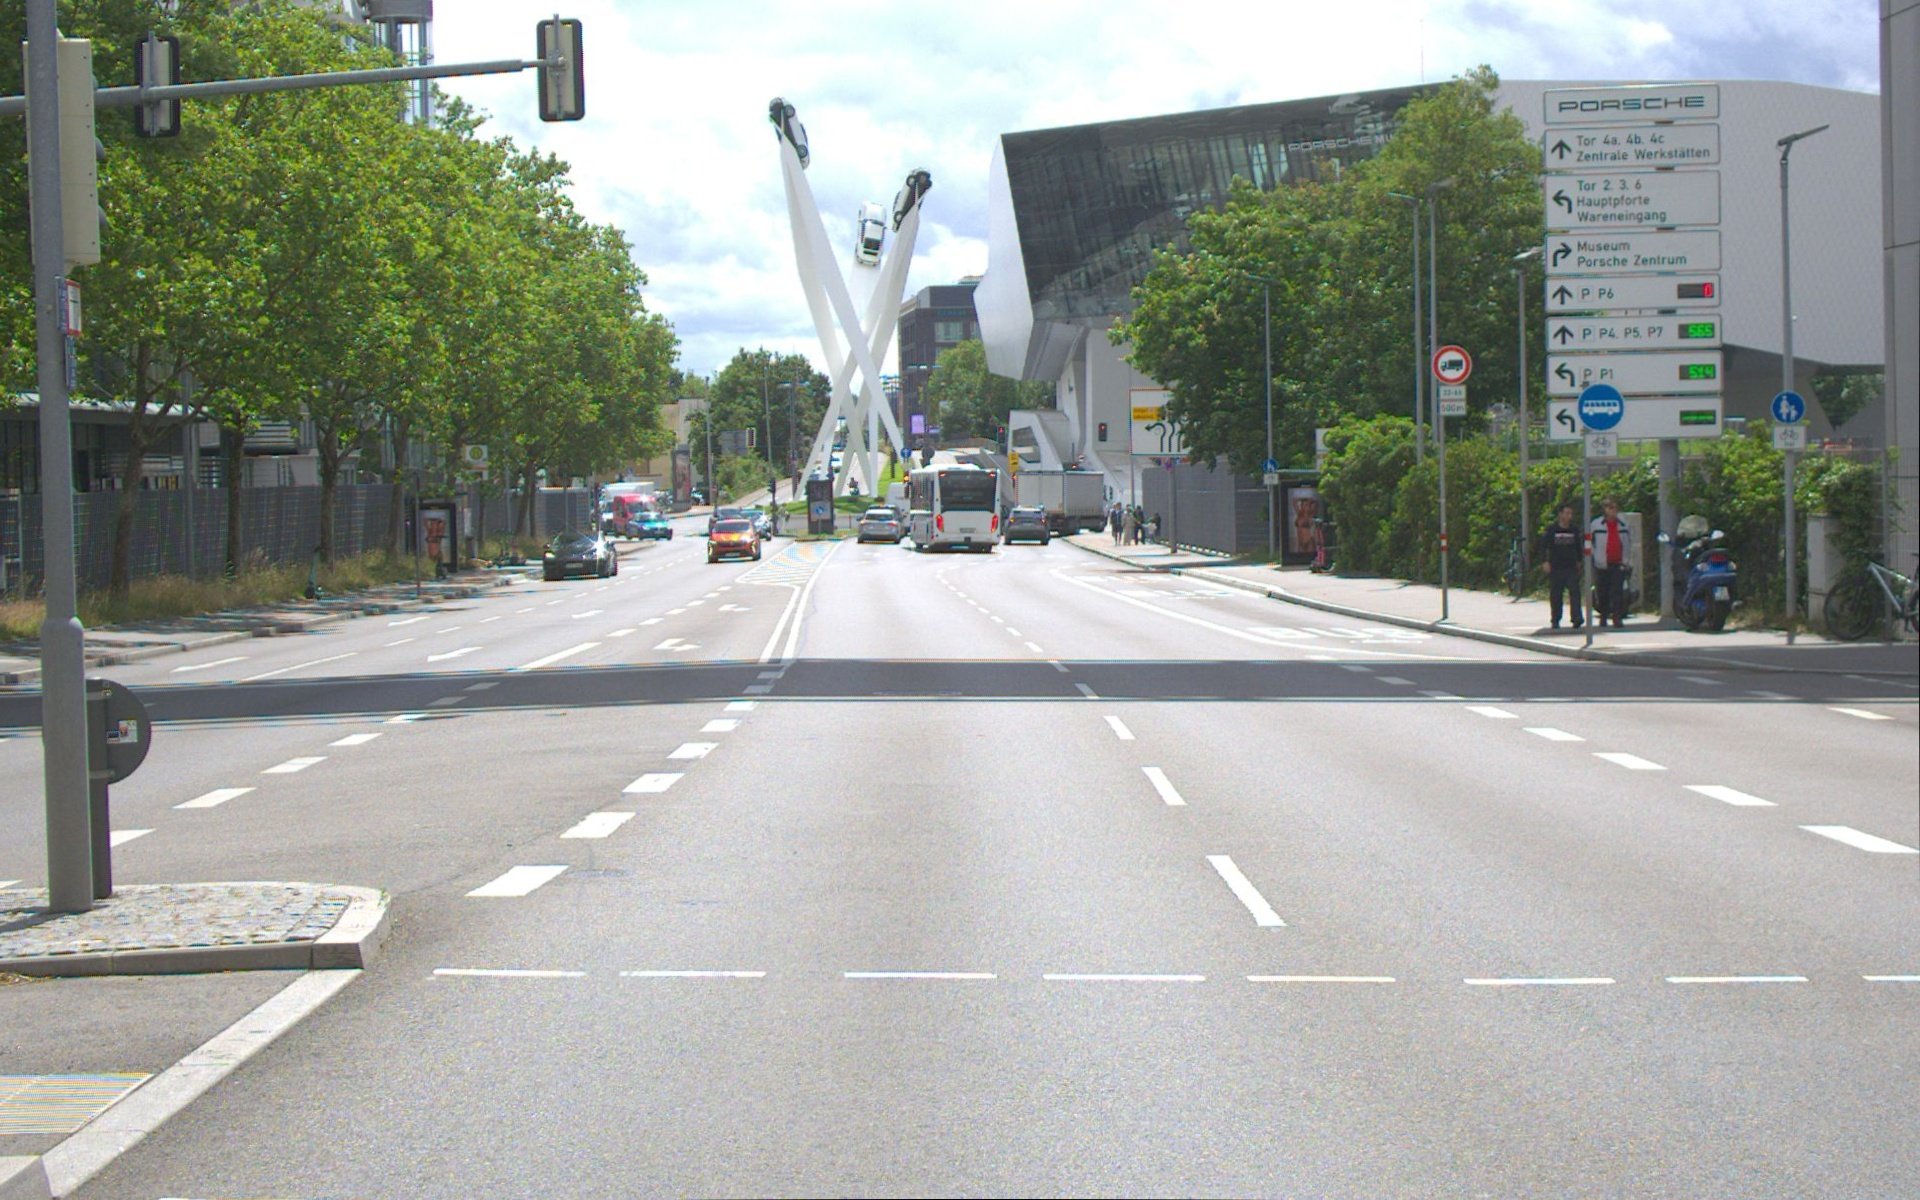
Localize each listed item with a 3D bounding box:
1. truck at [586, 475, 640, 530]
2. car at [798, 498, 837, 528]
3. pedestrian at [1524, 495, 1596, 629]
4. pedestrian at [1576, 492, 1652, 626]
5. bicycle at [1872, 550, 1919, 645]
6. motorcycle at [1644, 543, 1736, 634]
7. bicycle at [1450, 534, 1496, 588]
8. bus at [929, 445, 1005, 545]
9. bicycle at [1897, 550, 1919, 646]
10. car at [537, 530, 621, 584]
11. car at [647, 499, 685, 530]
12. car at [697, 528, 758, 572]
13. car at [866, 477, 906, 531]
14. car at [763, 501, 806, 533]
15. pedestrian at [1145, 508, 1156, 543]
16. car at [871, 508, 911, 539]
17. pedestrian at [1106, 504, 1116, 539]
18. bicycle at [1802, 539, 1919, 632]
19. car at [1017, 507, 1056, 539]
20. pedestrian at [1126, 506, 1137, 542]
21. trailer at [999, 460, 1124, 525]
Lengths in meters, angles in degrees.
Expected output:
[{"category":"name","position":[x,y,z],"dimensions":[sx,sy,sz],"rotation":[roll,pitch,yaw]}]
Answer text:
[{"category":"truck","position":[-21.693,-6.072,215.360],"dimensions":[2.591,3.312,7.079],"rotation":[1,1,0]},{"category":"car","position":[-6.445,-3.917,155.685],"dimensions":[1.557,1.269,3.701],"rotation":[-3,1,0]},{"category":"pedestrian","position":[8.232,-0.523,47.190],"dimensions":[0.641,1.787,0.712],"rotation":[-3,1,-16]},{"category":"pedestrian","position":[8.983,-0.563,47.236],"dimensions":[0.691,1.787,0.712],"rotation":[-3,1,-16]},{"category":"bicycle","position":[11.659,-0.016,39.538],"dimensions":[2.222,1.083,0.476],"rotation":[1,1,35]},{"category":"motorcycle","position":[9.543,-0.163,45.023],"dimensions":[0.418,1.162,1.957],"rotation":[1,1,-11]},{"category":"bicycle","position":[9.737,-0.741,65.263],"dimensions":[0.418,1.019,1.913],"rotation":[1,1,-5]},{"category":"bus","position":[0.283,-3.986,132.600],"dimensions":[2.787,3.673,6.943],"rotation":[1,1,0]},{"category":"bicycle","position":[11.740,-0.008,38.827],"dimensions":[2.191,1.083,0.476],"rotation":[1,1,35]},{"category":"car","position":[-11.437,-1.305,103.491],"dimensions":[1.917,1.483,4.772],"rotation":[-3,1,0]},{"category":"car","position":[-15.403,-4.477,180.366],"dimensions":[1.797,1.568,4.001],"rotation":[0,1,-2]},{"category":"car","position":[-8.028,-1.726,118.832],"dimensions":[1.769,1.415,3.701],"rotation":[-3,1,0]},{"category":"car","position":[-3.710,-4.766,171.463],"dimensions":[1.843,2.614,4.000],"rotation":[1,1,-3]},{"category":"car","position":[-8.344,-3.962,163.955],"dimensions":[1.769,1.415,3.701],"rotation":[-3,1,0]},{"category":"pedestrian","position":[7.674,-3.010,138.509],"dimensions":[0.386,1.416,0.423],"rotation":[1,0,0]},{"category":"car","position":[-2.962,-3.316,148.711],"dimensions":[1.557,1.269,3.701],"rotation":[-3,1,1]},{"category":"pedestrian","position":[6.058,-3.146,138.051],"dimensions":[0.386,1.416,0.423],"rotation":[1,0,0]},{"category":"bicycle","position":[11.167,-0.173,40.868],"dimensions":[2.222,1.083,0.476],"rotation":[1,1,35]},{"category":"car","position":[3.237,-3.261,146.162],"dimensions":[1.557,1.269,3.701],"rotation":[-3,1,1]},{"category":"pedestrian","position":[6.856,-3.033,137.609],"dimensions":[0.386,1.416,0.423],"rotation":[1,0,0]},{"category":"trailer","position":[5.176,-5.329,172.085],"dimensions":[3.322,2.984,10.366],"rotation":[1,1,19]}]
